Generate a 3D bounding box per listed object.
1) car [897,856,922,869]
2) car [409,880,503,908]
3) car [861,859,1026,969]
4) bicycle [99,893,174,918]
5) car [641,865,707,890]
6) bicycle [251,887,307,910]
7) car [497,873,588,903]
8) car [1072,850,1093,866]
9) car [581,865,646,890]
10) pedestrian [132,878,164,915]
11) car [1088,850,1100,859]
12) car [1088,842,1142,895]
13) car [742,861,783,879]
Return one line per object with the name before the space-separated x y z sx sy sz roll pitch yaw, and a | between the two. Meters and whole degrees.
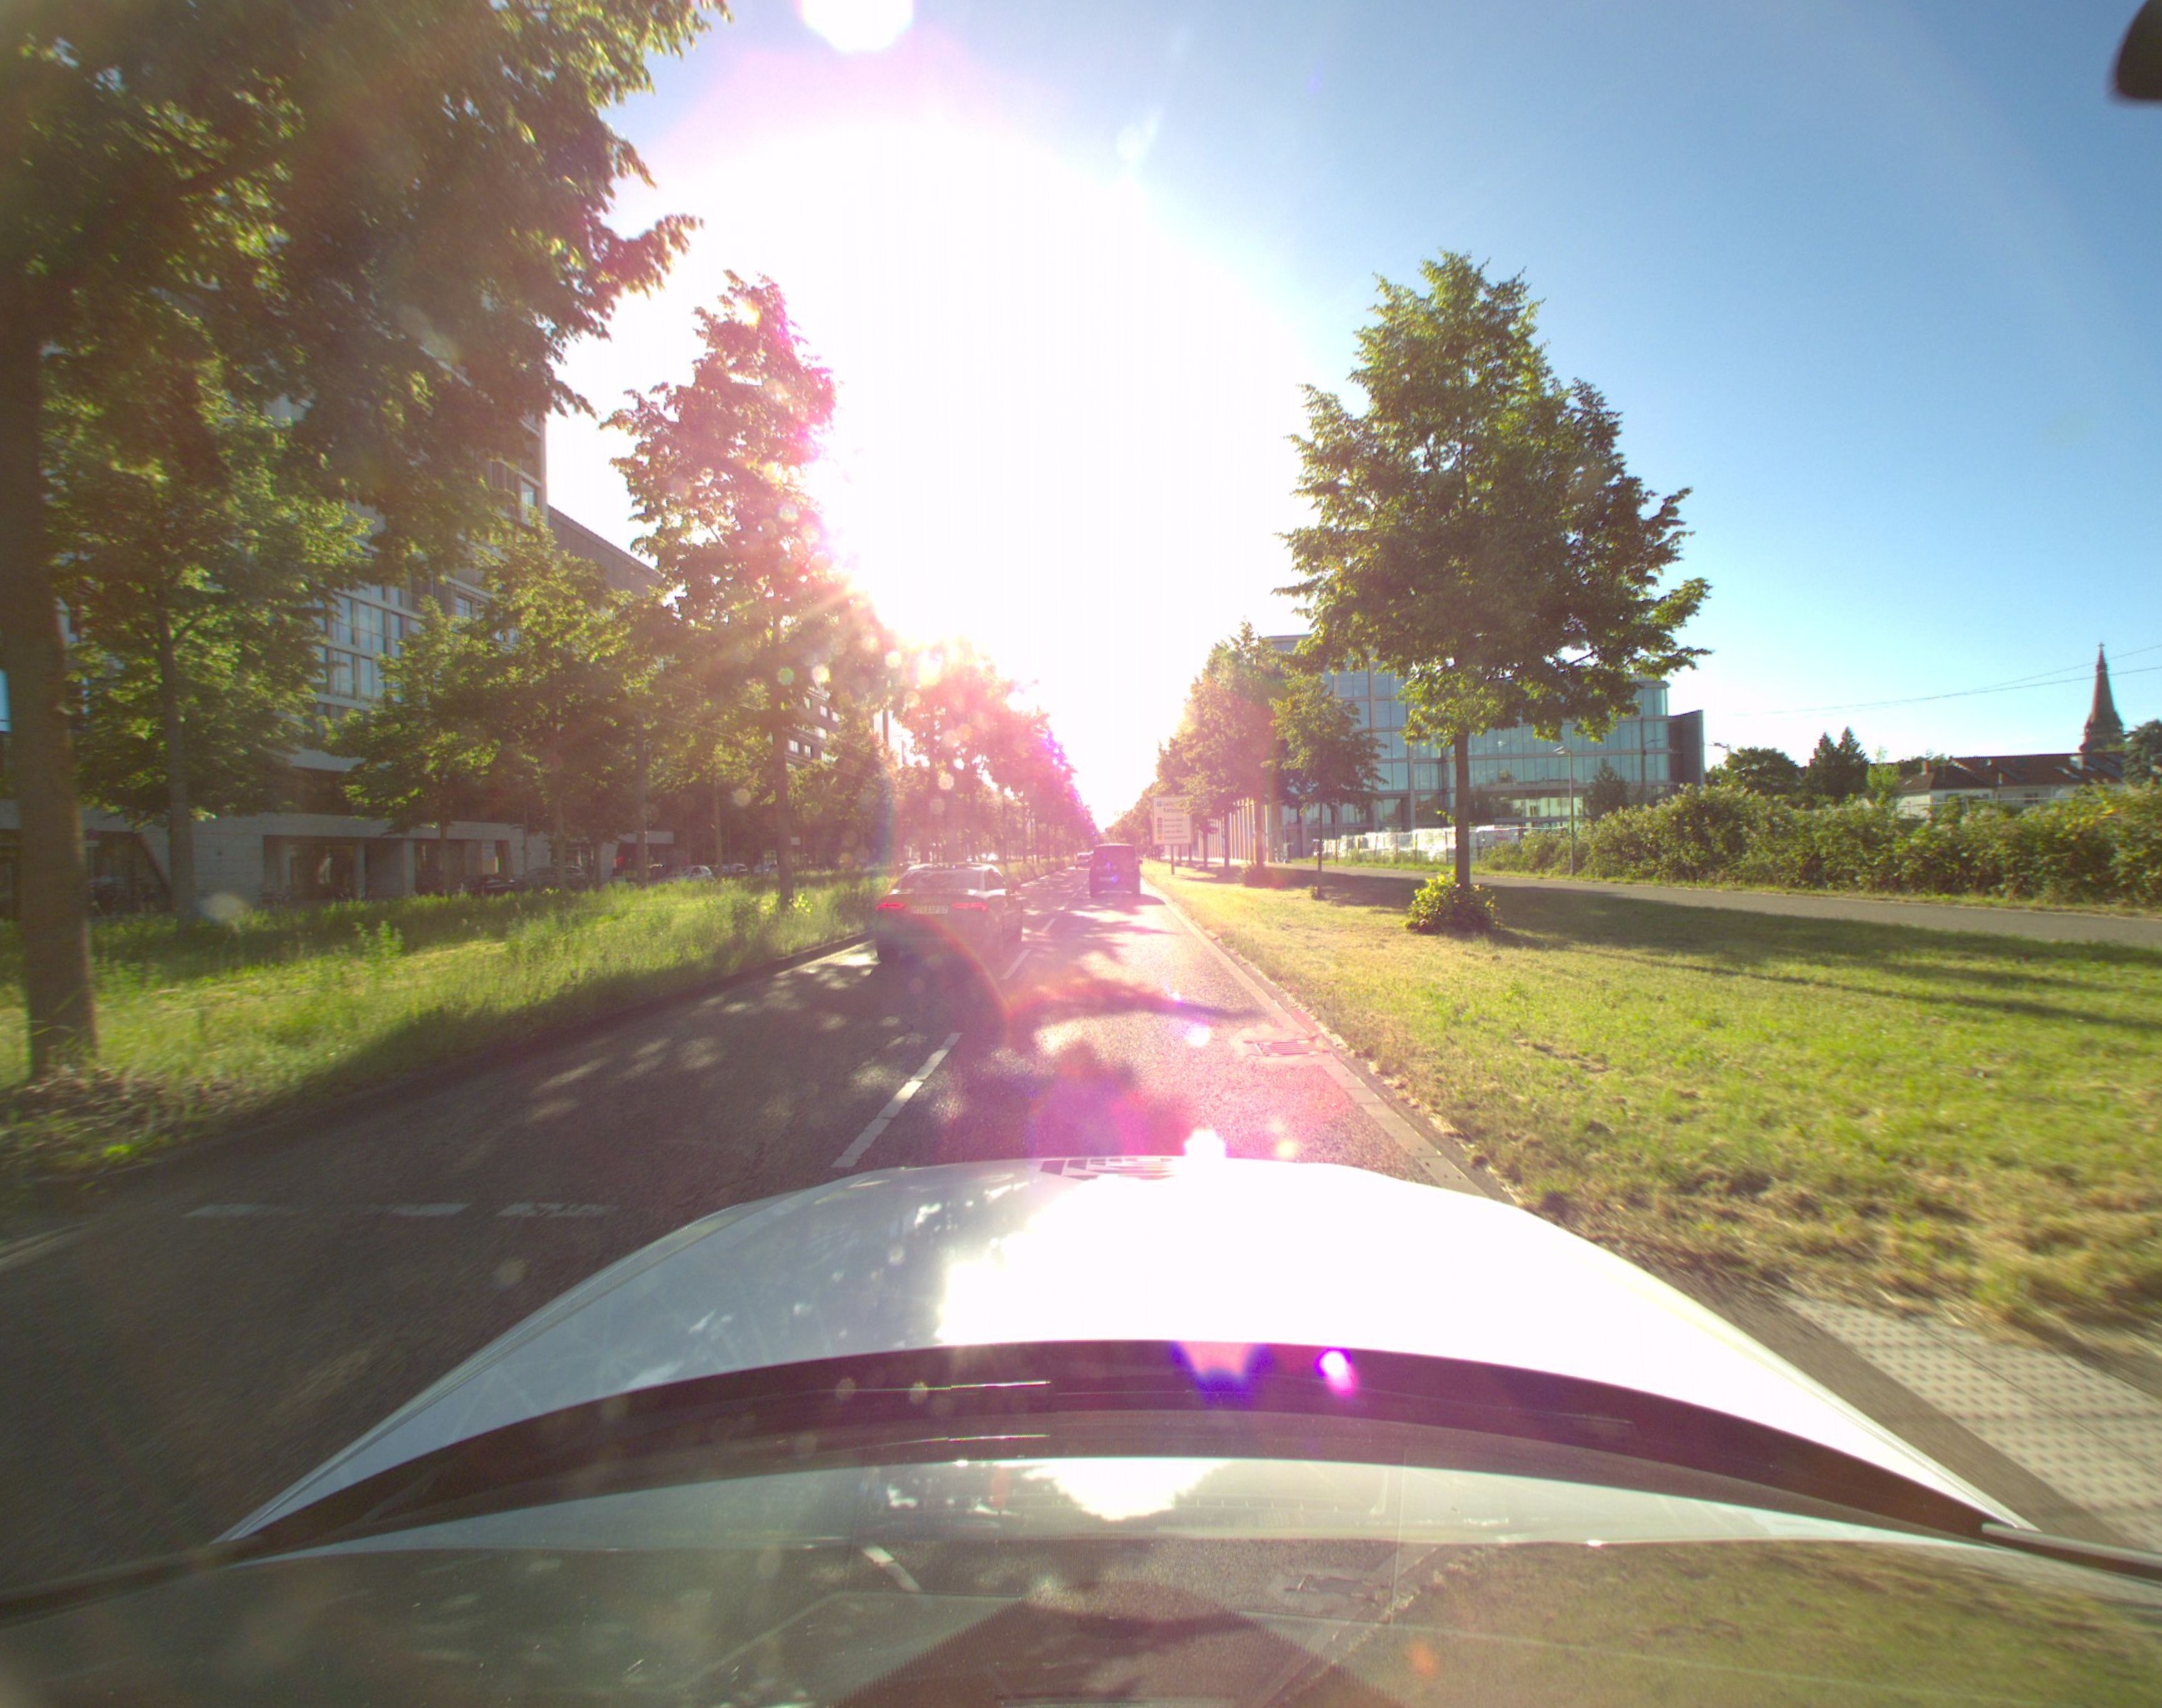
car | -19.251 0.945 91.478 1.791 1.292 4.313 -2 1 1
car | -29.747 1.882 38.911 1.662 1.207 3.584 -1 -1 2
car | -1.923 0.794 12.633 1.714 1.366 4.148 0 0 2
bicycle | -36.939 2.003 31.886 0.539 0.881 2.015 -1 -1 2
car | -22.763 1.301 45.652 1.761 1.238 3.488 -2 0 3
bicycle | -36.901 2.044 37.514 0.539 0.972 1.983 -1 -1 2
car | -29.500 1.820 44.791 1.661 1.420 4.807 -2 0 2
car | 0.119 0.370 78.845 1.936 1.441 4.000 -2 0 0
car | -29.101 1.449 50.800 1.727 1.354 3.755 -2 0 2
pedestrian | -36.463 1.664 31.832 0.406 1.413 0.690 -1 -2 2
car | 2.242 0.108 140.501 1.834 1.534 3.944 -1 -1 5
car | 1.165 0.489 29.264 1.791 1.777 4.001 0 0 1
car | -28.319 1.378 72.560 1.708 1.420 4.548 -1 0 2
